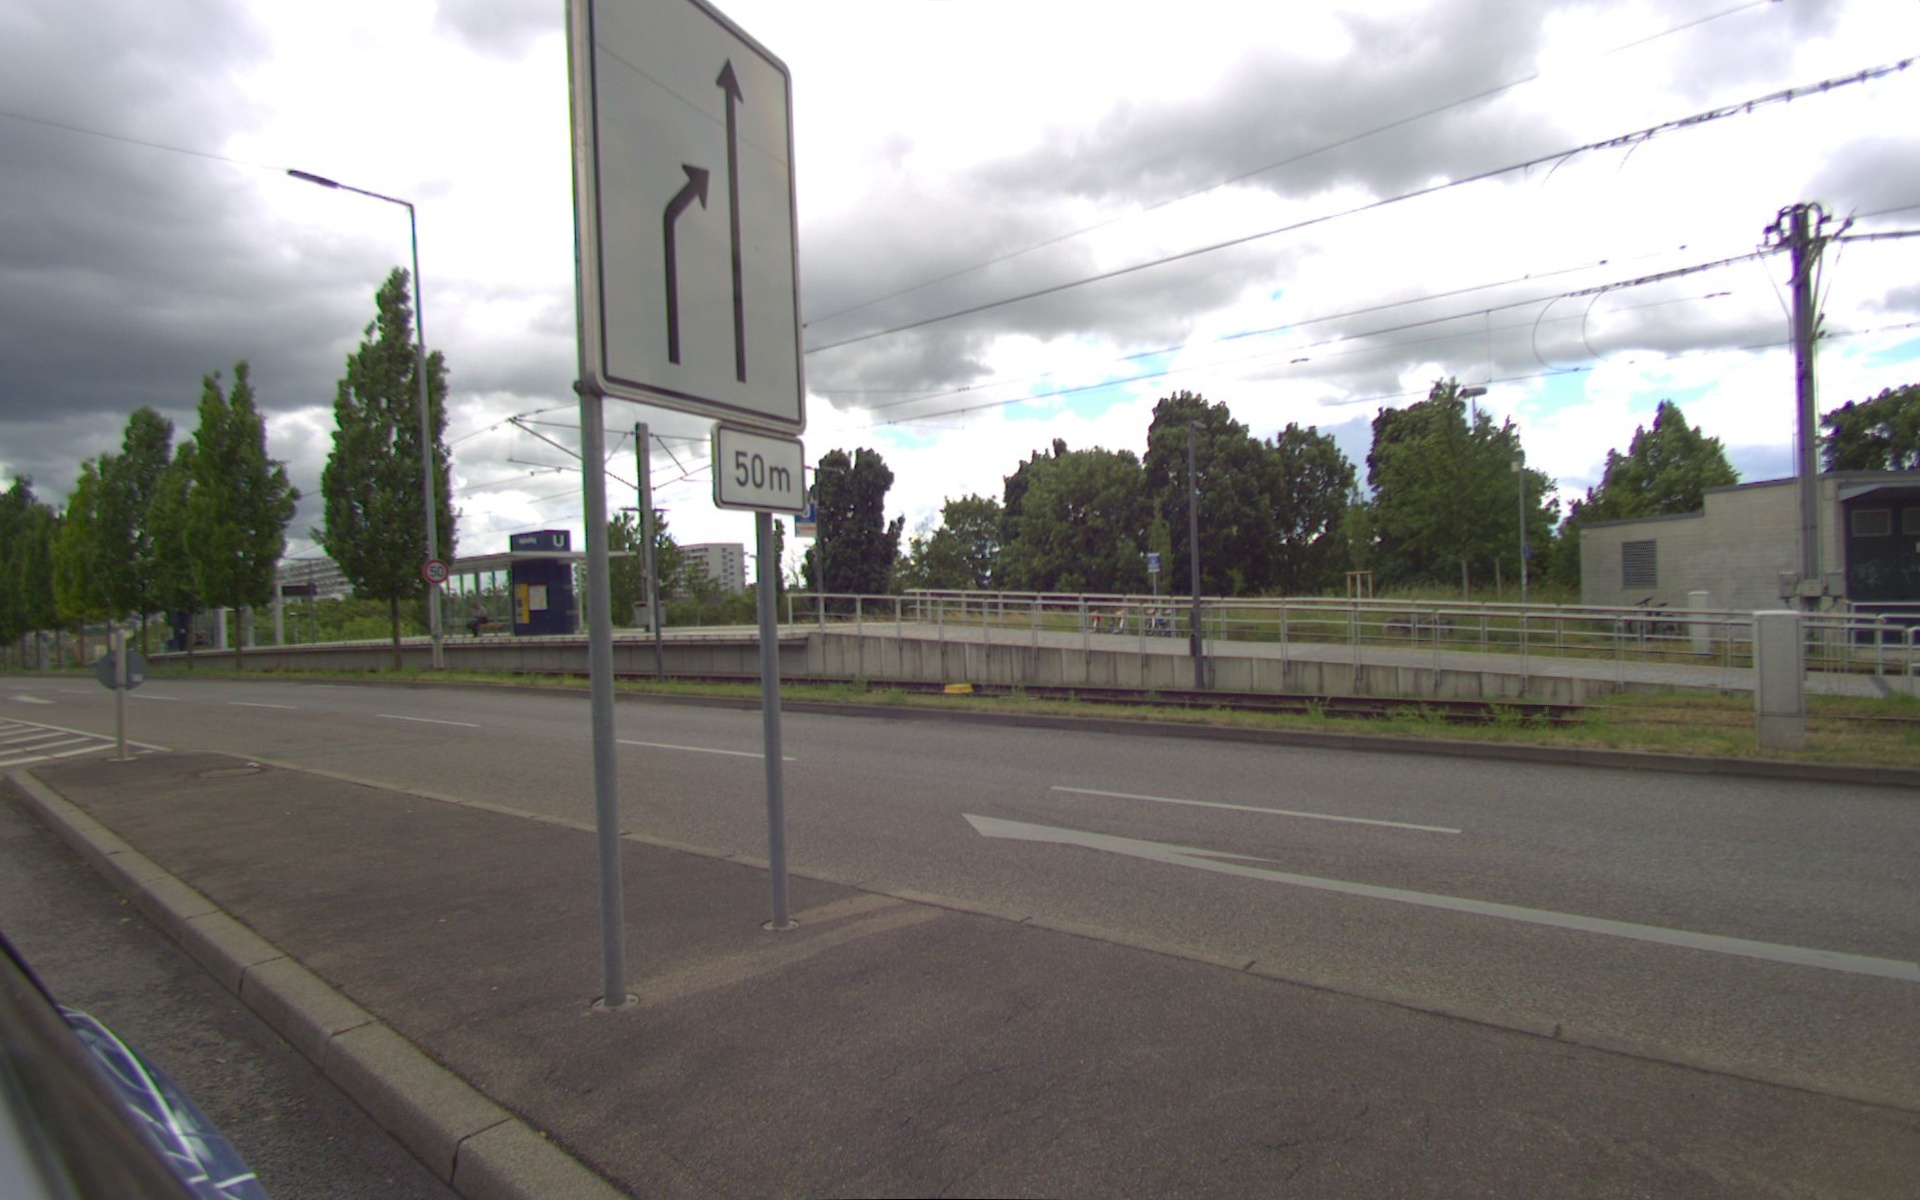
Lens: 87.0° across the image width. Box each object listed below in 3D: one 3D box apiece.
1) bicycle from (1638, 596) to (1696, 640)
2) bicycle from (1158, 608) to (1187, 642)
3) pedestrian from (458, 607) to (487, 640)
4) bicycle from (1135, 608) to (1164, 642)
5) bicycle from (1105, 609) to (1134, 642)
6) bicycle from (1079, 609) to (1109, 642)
[{"bbox_3d":[18.187,0.458,26.060,0.486,1.095,1.480,-1,-1,3],"label":"bicycle"},{"bbox_3d":[7.039,0.816,33.468,0.490,1.095,1.466,-2,-1,30],"label":"bicycle"},{"bbox_3d":[-18.257,0.881,37.875,0.781,1.211,0.656,-2,-1,33],"label":"pedestrian"},{"bbox_3d":[6.374,0.818,33.949,0.490,1.095,1.466,-2,-1,30],"label":"bicycle"},{"bbox_3d":[5.433,0.868,34.460,0.490,1.095,1.466,-2,-1,30],"label":"bicycle"},{"bbox_3d":[4.676,0.890,35.162,0.490,1.095,1.466,-2,-1,30],"label":"bicycle"}]
